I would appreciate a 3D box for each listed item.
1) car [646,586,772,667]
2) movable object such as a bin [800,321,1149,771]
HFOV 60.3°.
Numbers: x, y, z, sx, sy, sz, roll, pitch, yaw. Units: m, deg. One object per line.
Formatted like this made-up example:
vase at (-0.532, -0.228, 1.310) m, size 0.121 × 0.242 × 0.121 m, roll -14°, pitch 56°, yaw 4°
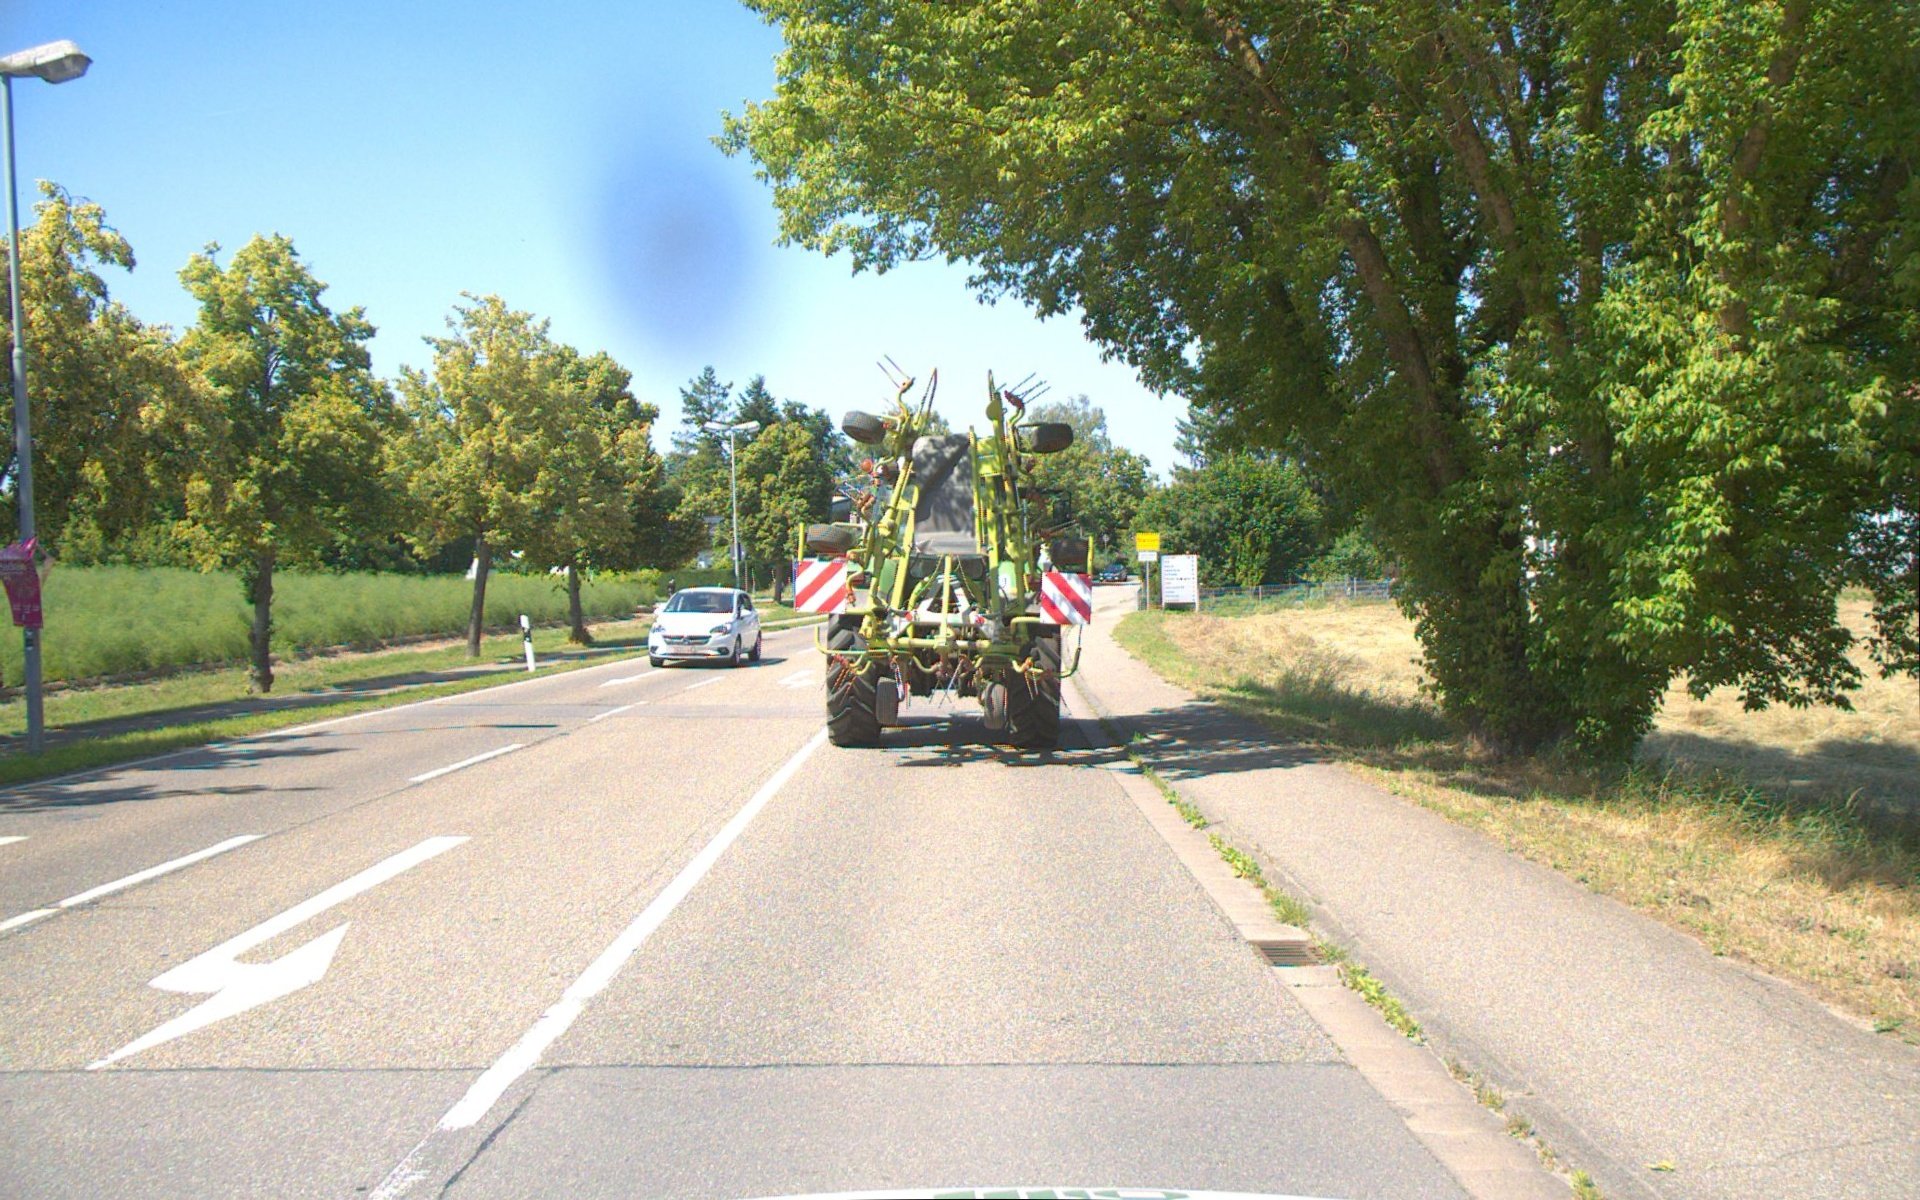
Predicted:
car at (-4.848, 0.471, 32.449) m, size 1.614 × 1.459 × 3.899 m, roll 1°, pitch 1°, yaw 4°
movable object such as a bin at (-0.030, -0.456, 18.158) m, size 2.795 × 3.603 × 9.697 m, roll 0°, pitch 0°, yaw -2°
